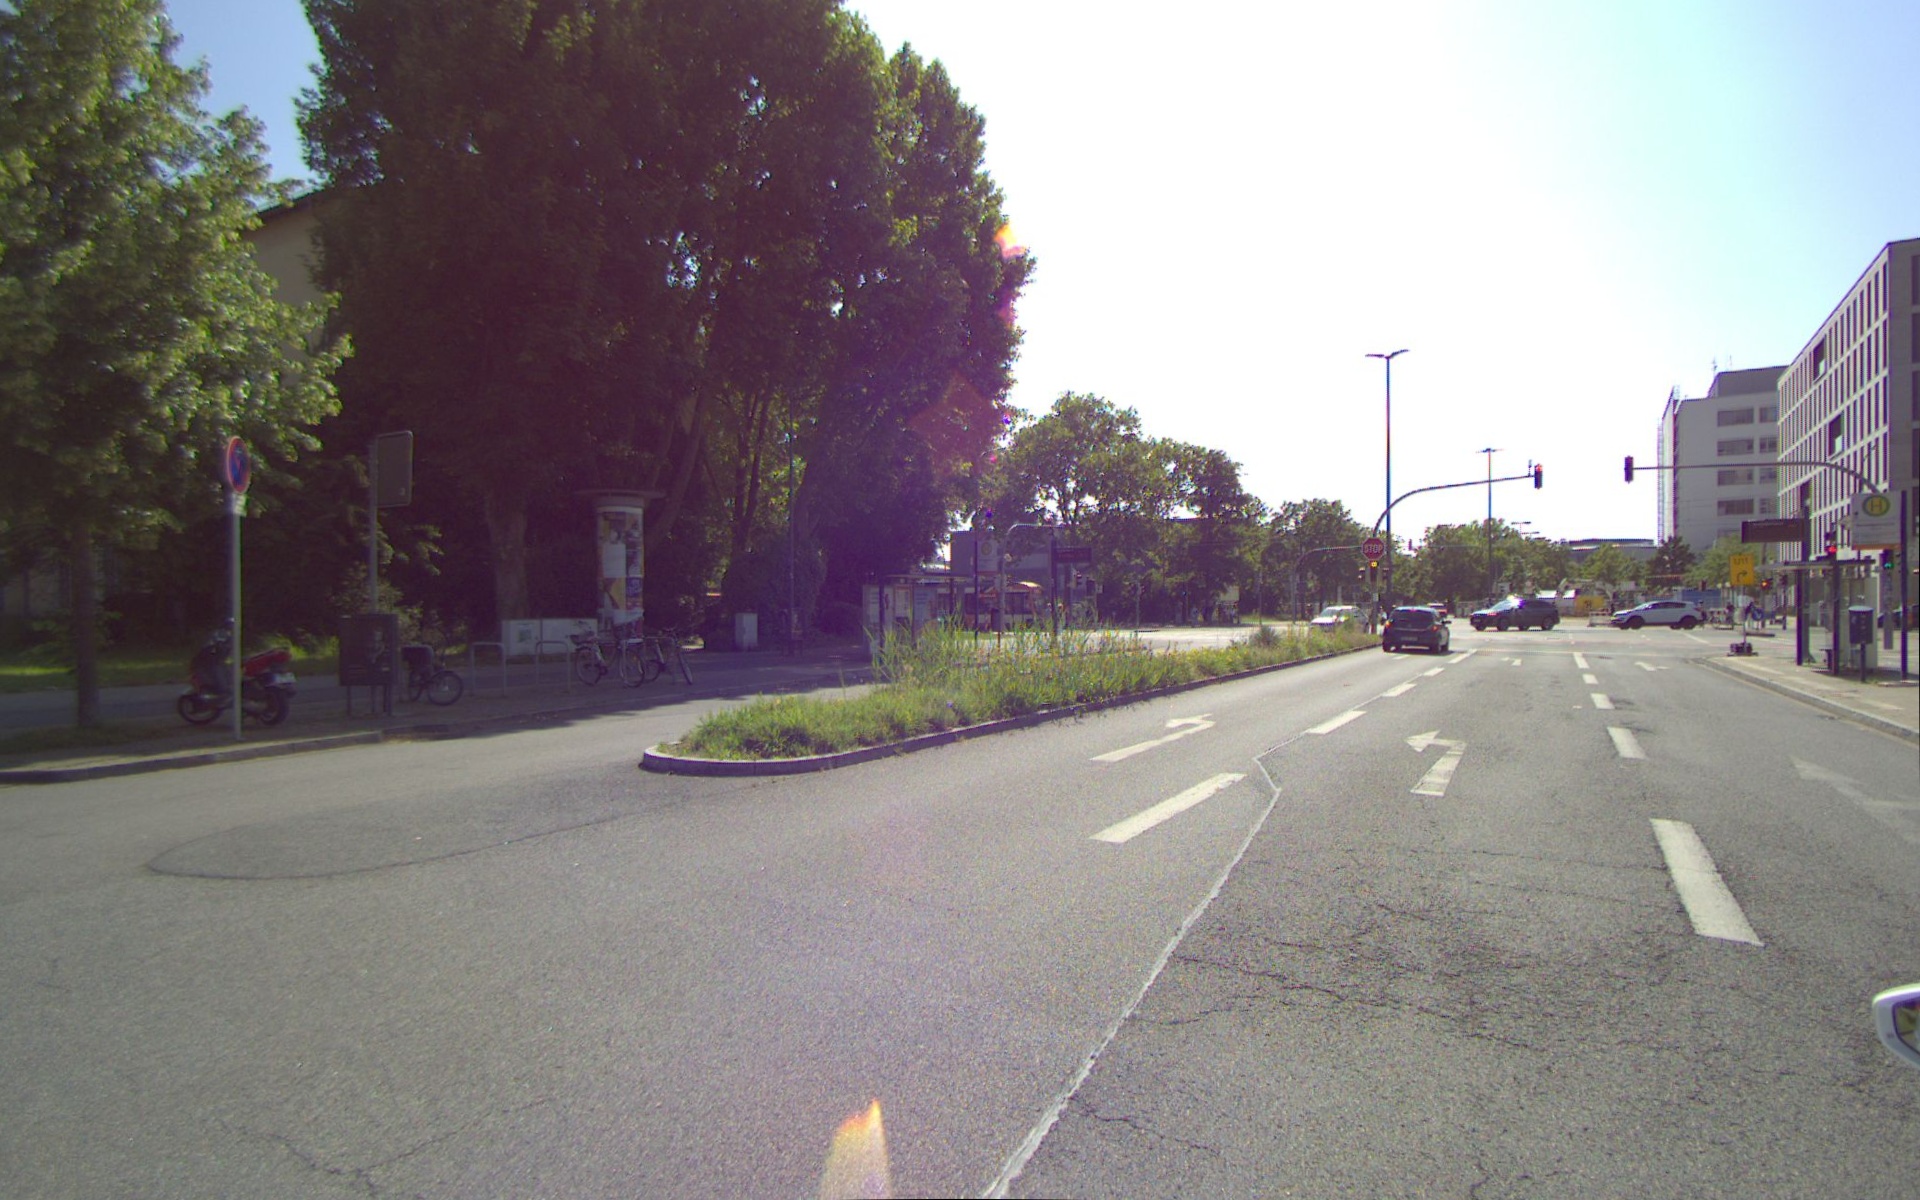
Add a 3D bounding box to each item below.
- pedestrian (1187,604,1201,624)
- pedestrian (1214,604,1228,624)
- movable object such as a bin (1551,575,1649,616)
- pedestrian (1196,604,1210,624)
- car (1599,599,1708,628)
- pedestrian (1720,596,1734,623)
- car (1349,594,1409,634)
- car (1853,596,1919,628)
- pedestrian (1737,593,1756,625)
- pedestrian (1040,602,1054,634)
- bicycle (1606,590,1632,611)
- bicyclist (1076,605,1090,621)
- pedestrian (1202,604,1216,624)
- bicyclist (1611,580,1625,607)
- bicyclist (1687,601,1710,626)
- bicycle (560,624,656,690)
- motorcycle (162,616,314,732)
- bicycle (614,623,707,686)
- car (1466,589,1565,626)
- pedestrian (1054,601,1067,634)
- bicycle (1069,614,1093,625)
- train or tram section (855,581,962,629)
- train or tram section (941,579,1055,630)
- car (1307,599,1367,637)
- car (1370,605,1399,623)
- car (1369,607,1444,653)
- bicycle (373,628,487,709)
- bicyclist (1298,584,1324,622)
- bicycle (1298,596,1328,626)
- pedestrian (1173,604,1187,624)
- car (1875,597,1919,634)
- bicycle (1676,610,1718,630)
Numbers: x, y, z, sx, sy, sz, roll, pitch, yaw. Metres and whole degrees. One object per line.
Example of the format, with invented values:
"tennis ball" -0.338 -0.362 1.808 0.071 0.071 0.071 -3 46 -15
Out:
"pedestrian" 18.852 1.119 80.916 0.932 1.633 0.650 0 0 -36
"pedestrian" 20.877 1.110 80.260 0.932 1.633 0.661 0 0 -36
"movable object such as a bin" 74.218 -0.486 116.703 9.542 4.611 3.155 0 0 33
"pedestrian" 19.462 1.114 80.526 0.932 1.633 0.650 0 0 -36
"car" 39.684 0.764 57.592 4.774 1.658 2.000 0 0 20
"pedestrian" 51.105 0.626 66.901 0.519 1.795 0.719 0 0 18
"car" 18.141 0.602 43.374 1.964 1.660 4.388 -1 -1 28
"car" 49.951 0.619 52.901 4.052 1.660 1.995 -1 -1 31
"pedestrian" 50.786 0.556 64.847 0.768 2.040 0.774 0 0 -30
"pedestrian" 4.749 0.966 54.998 0.647 1.749 0.753 -1 0 14
"bicycle" 64.373 0.027 98.080 2.062 1.988 0.824 0 0 38
"bicyclist" 10.278 1.101 83.691 1.038 1.292 0.491 0 0 36
"pedestrian" 19.726 1.101 79.452 0.932 1.633 0.650 0 0 -36
"bicyclist" 64.311 -0.612 98.144 1.056 2.608 0.824 0 0 38
"bicyclist" 49.278 0.892 67.033 1.225 1.696 0.522 0 0 40
"bicycle" -6.425 1.010 18.297 1.819 1.121 0.691 0 0 33
"motorcycle" -8.706 0.854 12.102 1.816 1.301 0.692 0 0 25
"bicycle" -5.738 1.021 19.208 1.819 1.137 0.691 0 0 33
"car" 31.278 0.399 56.601 4.786 2.040 1.995 0 0 -13
"pedestrian" 5.491 0.947 54.816 0.557 1.749 0.734 -1 0 14
"bicycle" 10.118 1.610 83.800 1.973 0.895 0.525 0 0 36
"train or tram section" -3.808 0.383 74.096 7.445 3.376 3.113 0 0 30
"train or tram section" 2.622 0.324 70.324 7.445 3.376 3.113 0 0 30
"car" 17.213 0.796 45.707 1.863 1.631 4.509 -1 -1 30
"car" 37.216 1.250 88.146 1.714 1.529 3.967 0 0 14
"car" 14.814 0.928 33.218 1.964 1.417 3.993 0 0 29
"bicycle" -7.884 0.981 14.922 1.819 1.106 0.691 0 0 33
"bicyclist" 27.982 0.229 80.042 1.577 2.970 2.348 0 0 31
"bicycle" 28.397 0.893 80.727 1.577 2.299 3.991 0 -1 31
"pedestrian" 17.772 1.125 80.978 0.932 1.633 0.650 0 0 -36
"car" 43.124 0.684 44.166 3.929 1.603 1.840 -1 -1 30
"bicycle" 49.218 1.327 67.081 2.202 1.302 0.522 0 0 40
